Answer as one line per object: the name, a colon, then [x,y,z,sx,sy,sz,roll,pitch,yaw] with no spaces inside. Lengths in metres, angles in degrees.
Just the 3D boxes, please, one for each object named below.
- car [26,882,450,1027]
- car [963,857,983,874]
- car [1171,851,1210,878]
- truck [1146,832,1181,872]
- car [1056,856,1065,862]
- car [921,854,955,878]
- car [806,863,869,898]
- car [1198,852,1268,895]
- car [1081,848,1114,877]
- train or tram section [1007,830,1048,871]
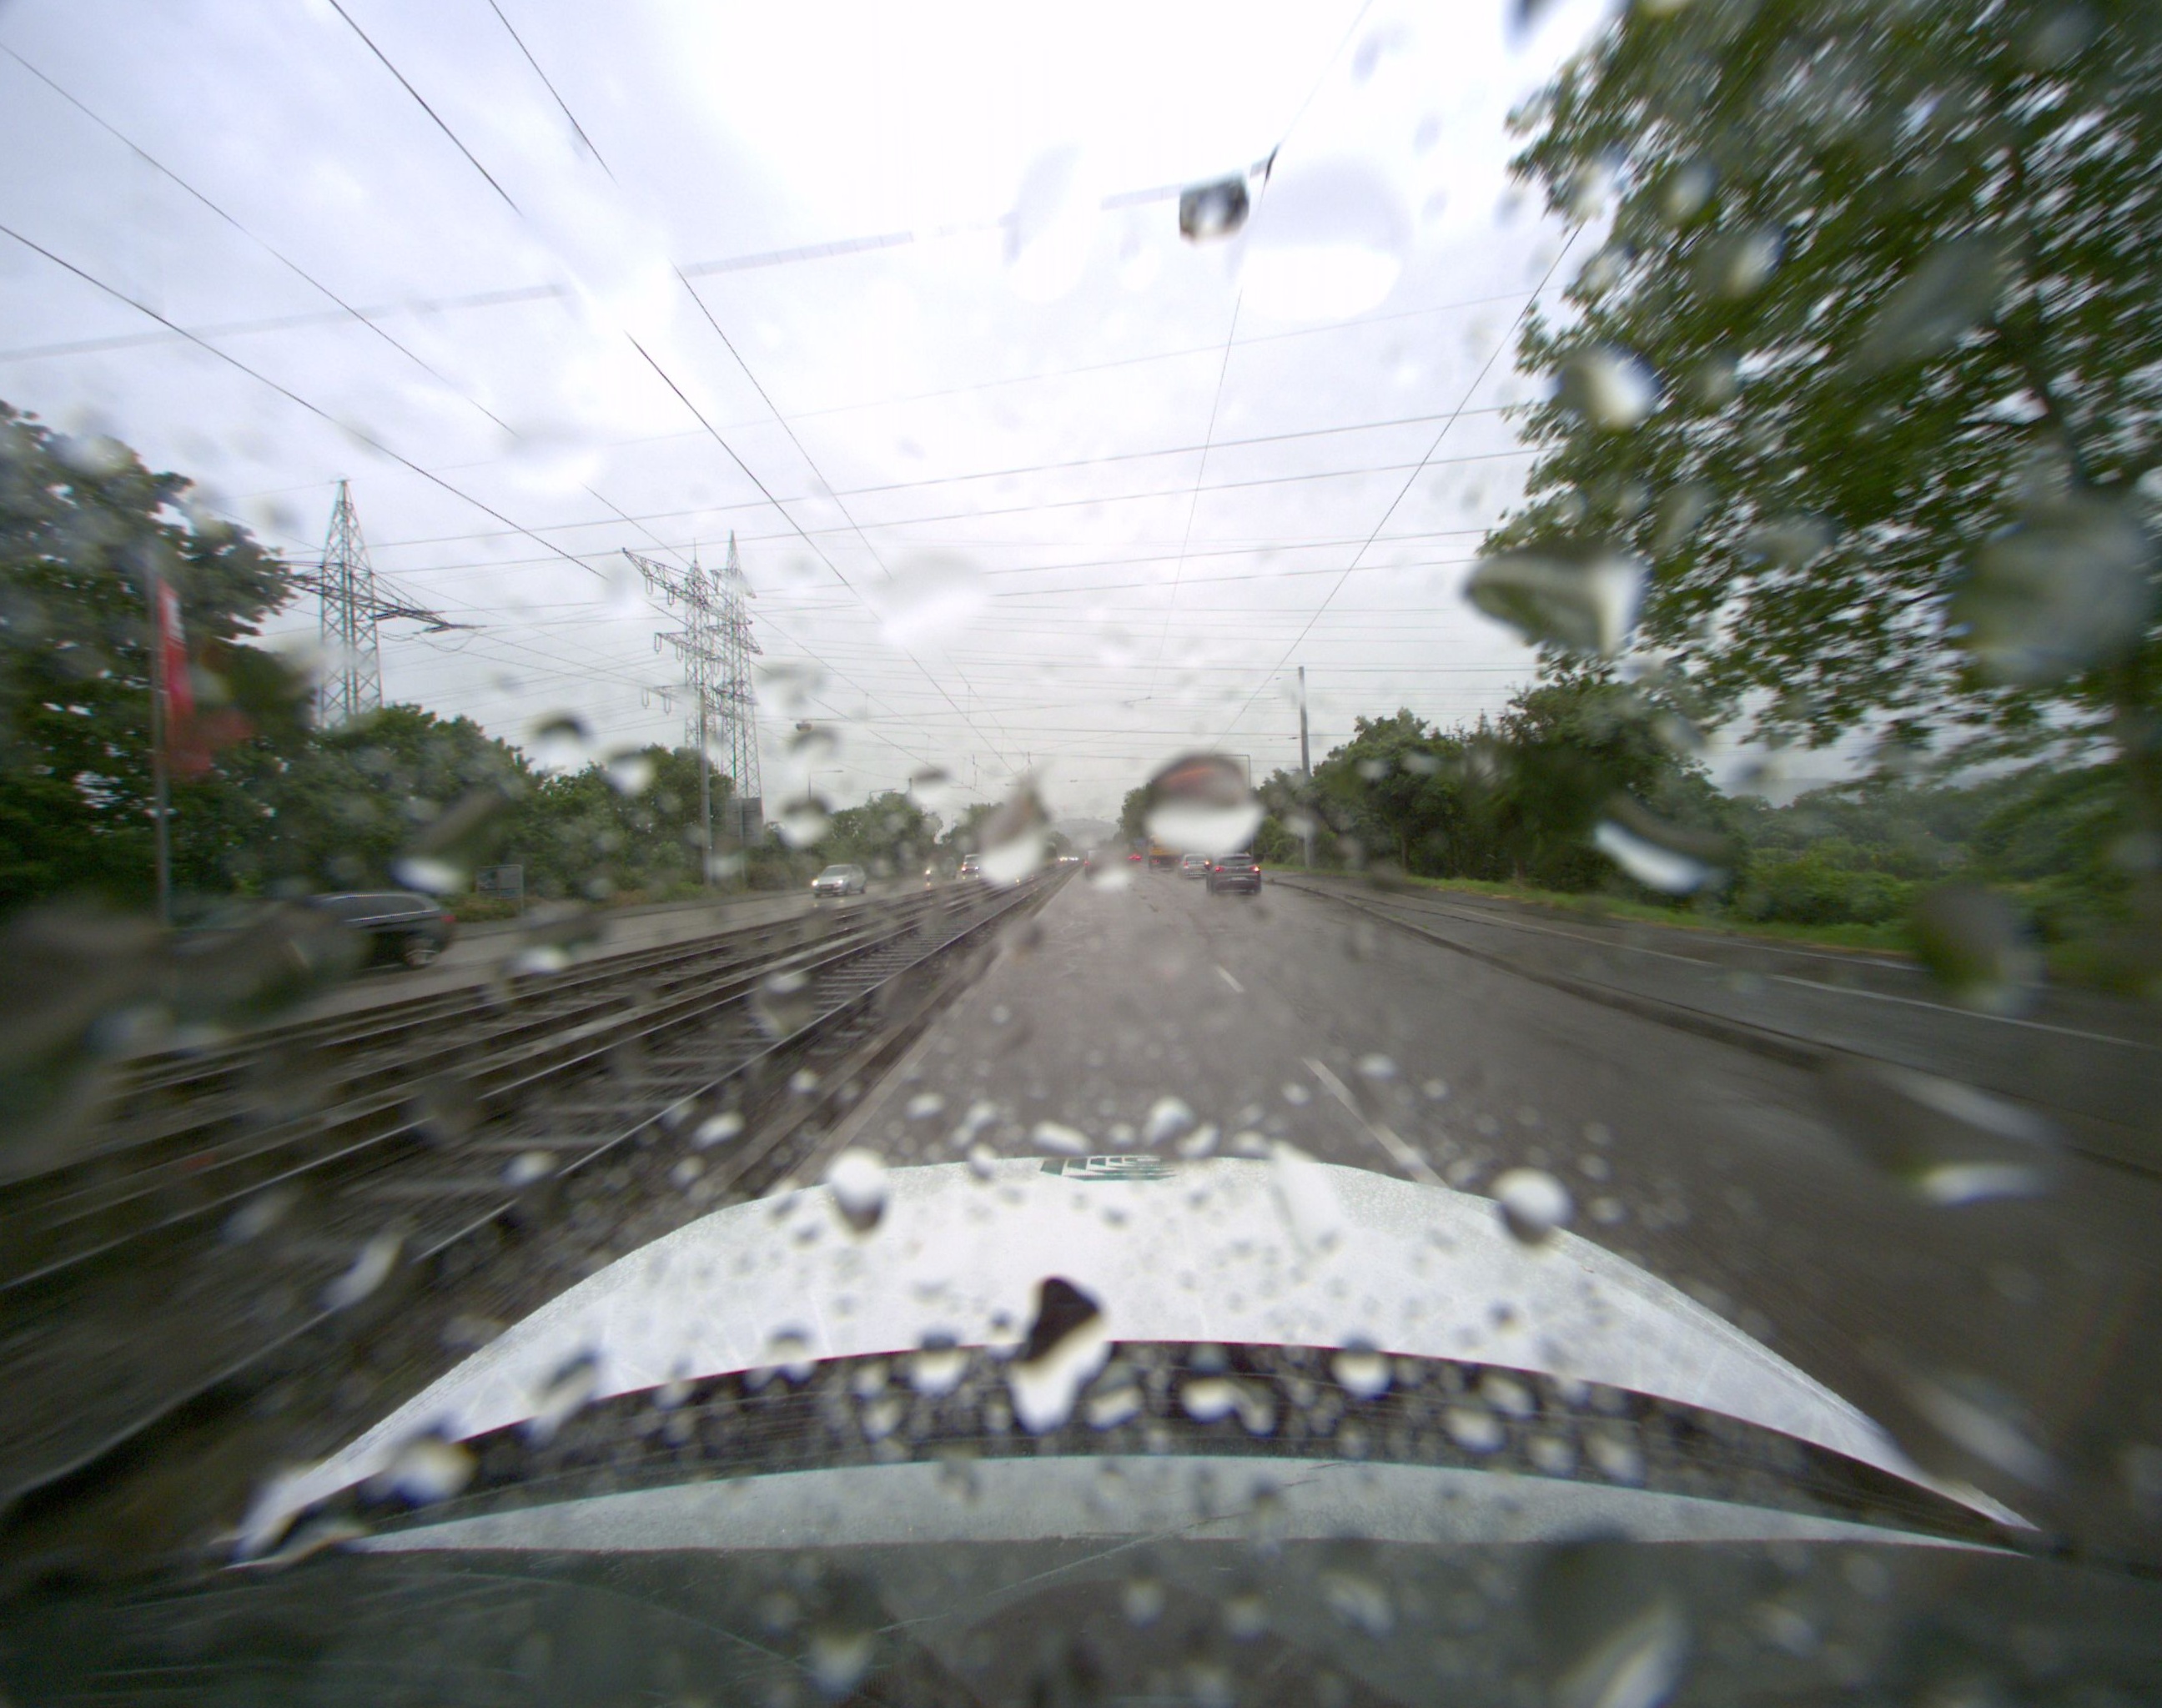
car: [-12.582,1.374,12.701,1.880,1.642,4.400,-1,1,2]
car: [-11.960,1.293,90.139,1.661,1.723,3.732,-1,1,1]
car: [6.454,0.590,48.473,1.622,1.503,4.604,-1,1,-1]
truck: [7.052,-0.230,70.269,2.546,3.257,6.937,-1,1,2]
car: [-5.590,1.474,226.632,1.985,1.464,5.256,-4,0,4]
car: [-12.097,0.981,69.066,1.880,1.884,4.624,-1,1,2]
car: [-12.807,1.343,43.092,1.880,1.642,4.349,-1,1,2]
car: [5.430,0.651,29.664,1.880,1.357,4.279,-1,1,2]
car: [1.058,0.502,51.410,1.981,1.684,3.742,-1,1,2]
train or tram section: [-5.291,-0.427,83.893,2.855,3.705,17.891,-1,1,1]
